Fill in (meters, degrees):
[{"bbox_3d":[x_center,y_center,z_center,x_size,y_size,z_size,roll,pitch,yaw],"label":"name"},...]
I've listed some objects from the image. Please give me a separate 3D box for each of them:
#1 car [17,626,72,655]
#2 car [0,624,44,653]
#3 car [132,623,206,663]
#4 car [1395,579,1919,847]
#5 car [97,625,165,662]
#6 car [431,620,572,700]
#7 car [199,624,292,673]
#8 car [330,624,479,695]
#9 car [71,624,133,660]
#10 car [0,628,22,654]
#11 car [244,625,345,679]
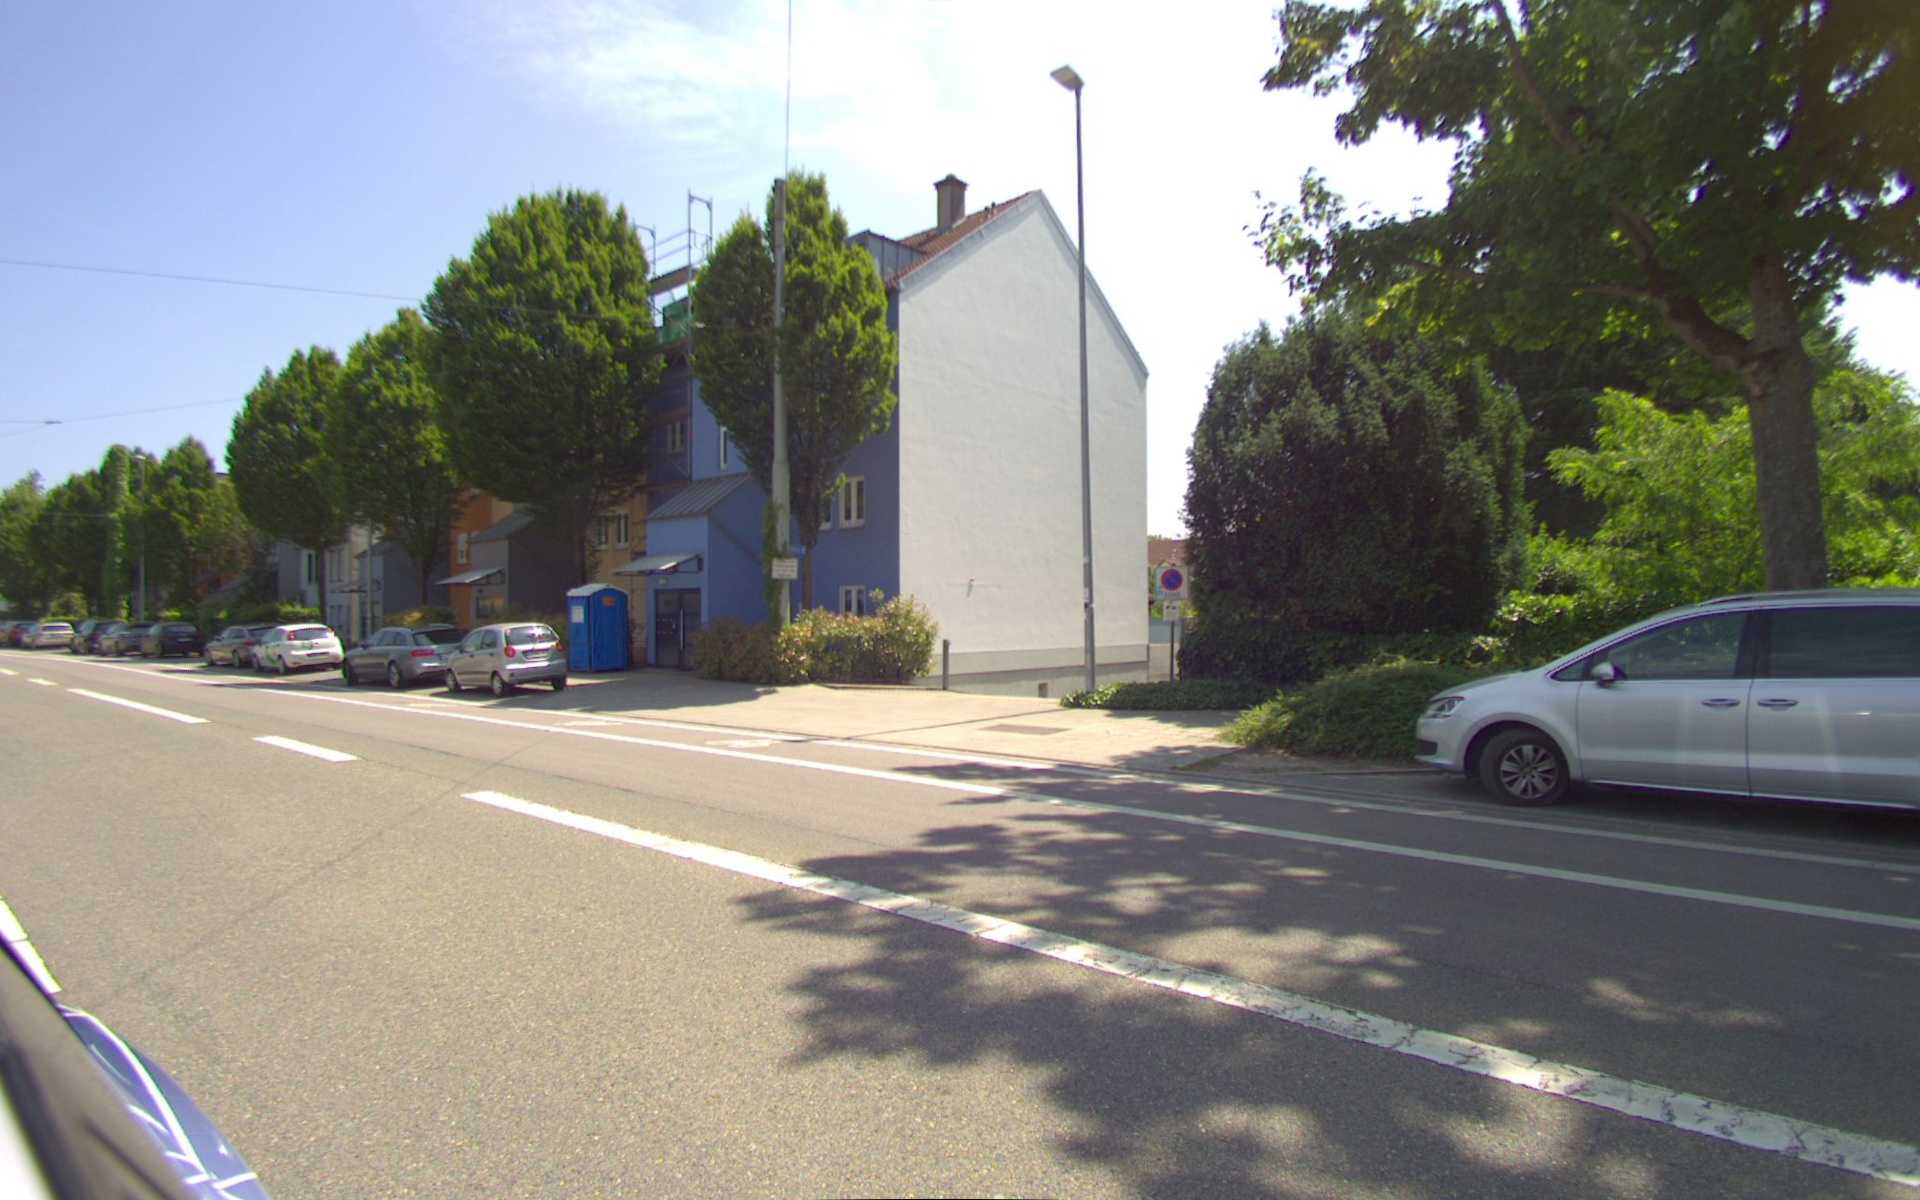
[{"bbox_3d":[-51.607,2.258,57.048,4.079,1.507,1.702,-1,2,40],"label":"car"},{"bbox_3d":[-56.261,2.278,60.433,3.467,1.507,1.842,-1,2,40],"label":"car"},{"bbox_3d":[-33.968,1.811,43.407,4.079,1.507,1.635,-1,2,40],"label":"car"},{"bbox_3d":[6.095,0.728,7.754,4.687,1.701,1.949,-1,-1,43],"label":"car"},{"bbox_3d":[-37.815,1.945,46.130,4.079,1.507,1.635,-1,2,40],"label":"car"},{"bbox_3d":[-10.106,1.261,22.235,3.279,1.507,1.487,-1,2,40],"label":"car"},{"bbox_3d":[-25.278,1.665,35.753,4.079,1.507,1.635,-1,2,40],"label":"car"},{"bbox_3d":[-14.006,1.429,25.419,4.635,1.507,1.659,-1,2,40],"label":"car"},{"bbox_3d":[-42.423,2.048,50.005,4.079,1.599,1.635,-1,2,40],"label":"car"},{"bbox_3d":[-60.232,2.586,63.295,3.468,1.507,1.842,-1,2,40],"label":"car"},{"bbox_3d":[-21.270,1.618,32.302,3.646,1.507,1.636,-1,2,40],"label":"car"}]
